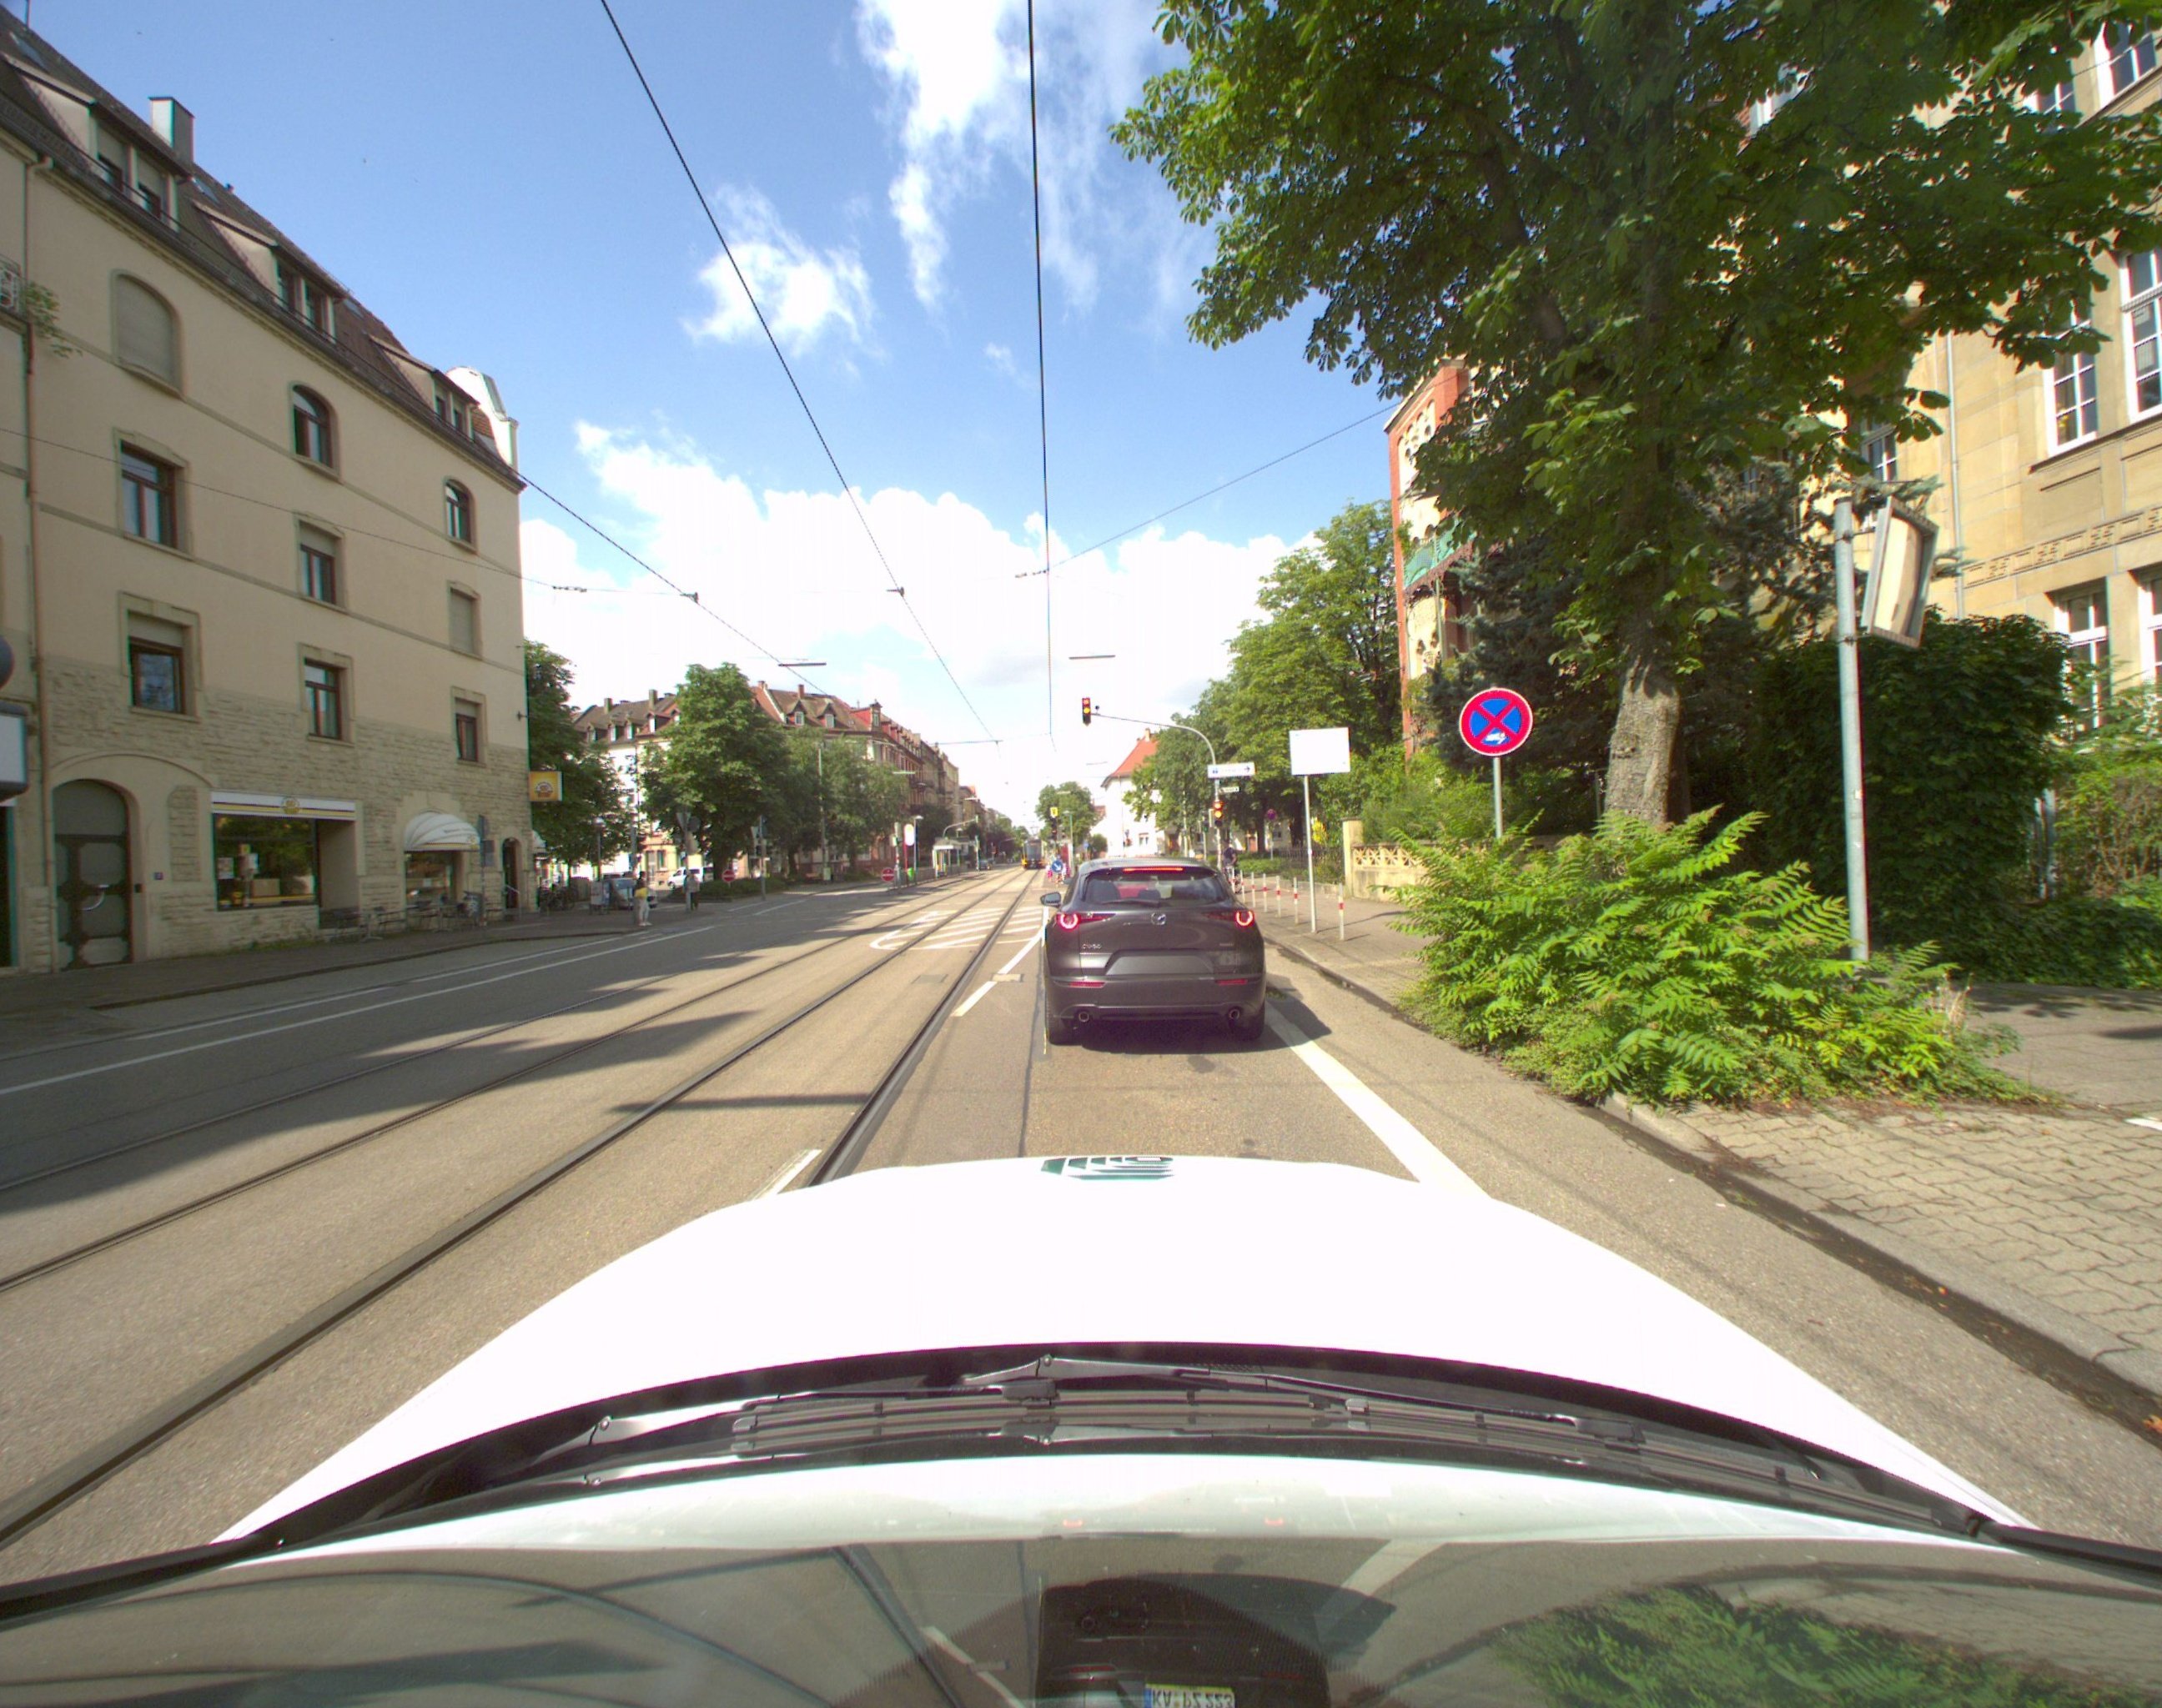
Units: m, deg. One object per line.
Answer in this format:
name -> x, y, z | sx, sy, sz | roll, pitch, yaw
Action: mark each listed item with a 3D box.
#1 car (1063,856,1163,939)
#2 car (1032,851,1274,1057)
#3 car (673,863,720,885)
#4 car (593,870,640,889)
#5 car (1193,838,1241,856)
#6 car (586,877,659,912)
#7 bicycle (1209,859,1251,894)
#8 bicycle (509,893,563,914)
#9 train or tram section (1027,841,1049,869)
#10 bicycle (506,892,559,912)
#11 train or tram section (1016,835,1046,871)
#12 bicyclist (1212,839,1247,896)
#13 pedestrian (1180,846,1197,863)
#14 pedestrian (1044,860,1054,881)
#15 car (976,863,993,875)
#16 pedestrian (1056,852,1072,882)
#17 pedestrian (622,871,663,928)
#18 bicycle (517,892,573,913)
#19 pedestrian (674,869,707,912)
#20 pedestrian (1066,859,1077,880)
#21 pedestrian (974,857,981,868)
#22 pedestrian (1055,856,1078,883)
car -> 0.543, 0.782, 16.499 | 1.770, 1.464, 3.841 | -1, 0, -1
car -> 0.608, 0.753, 8.030 | 1.775, 1.514, 4.002 | 0, 0, 2
car -> -37.107, 1.941, 78.587 | 3.901, 1.988, 1.866 | -2, 0, 21
car -> -46.518, 2.536, 81.537 | 3.895, 1.663, 1.926 | -3, 0, 20
car -> 13.130, -0.692, 78.575 | 4.118, 1.509, 1.864 | -3, 1, 40
car -> -21.232, 1.868, 37.649 | 3.824, 1.420, 1.732 | -3, 0, 41
bicycle -> 4.953, 0.738, 26.972 | 0.385, 1.035, 1.857 | -3, 0, 42
bicycle -> -25.343, 2.303, 37.907 | 0.505, 0.882, 2.043 | -3, -2, 44
train or tram section -> -6.563, 0.236, 126.065 | 2.989, 3.983, 13.798 | -3, -1, -2
bicycle -> -26.145, 2.282, 38.836 | 0.505, 0.882, 2.043 | -3, -2, 44
train or tram section -> -5.870, 0.005, 98.517 | 2.989, 3.983, 13.798 | -3, -1, -2
bicyclist -> 4.886, 0.427, 26.870 | 0.736, 1.819, 0.814 | -3, 0, -25
pedestrian -> 8.699, 0.047, 65.793 | 1.191, 1.269, 0.556 | -5, 0, -7
pedestrian -> -1.707, 0.878, 43.181 | 0.420, 1.108, 0.439 | -5, 0, 0
car -> -11.956, 1.855, 101.562 | 1.619, 1.387, 3.435 | -4, 0, 0
pedestrian -> -0.893, 0.678, 42.978 | 0.727, 1.565, 0.797 | -3, 0, -7
pedestrian -> -13.746, 1.414, 25.548 | 0.754, 1.704, 0.873 | 2, 0, -3
bicycle -> -24.356, 2.191, 37.015 | 0.516, 0.882, 2.043 | -3, -2, 44
pedestrian -> -15.928, 1.478, 33.234 | 0.852, 1.672, 0.822 | -3, 0, -1
pedestrian -> -0.504, 0.823, 43.599 | 0.440, 1.114, 0.644 | -3, 0, 6
pedestrian -> -15.624, 1.243, 122.866 | 0.785, 1.688, 0.732 | -3, 0, -1
pedestrian -> -0.743, 0.805, 41.829 | 0.817, 1.303, 0.722 | -5, 0, 29
